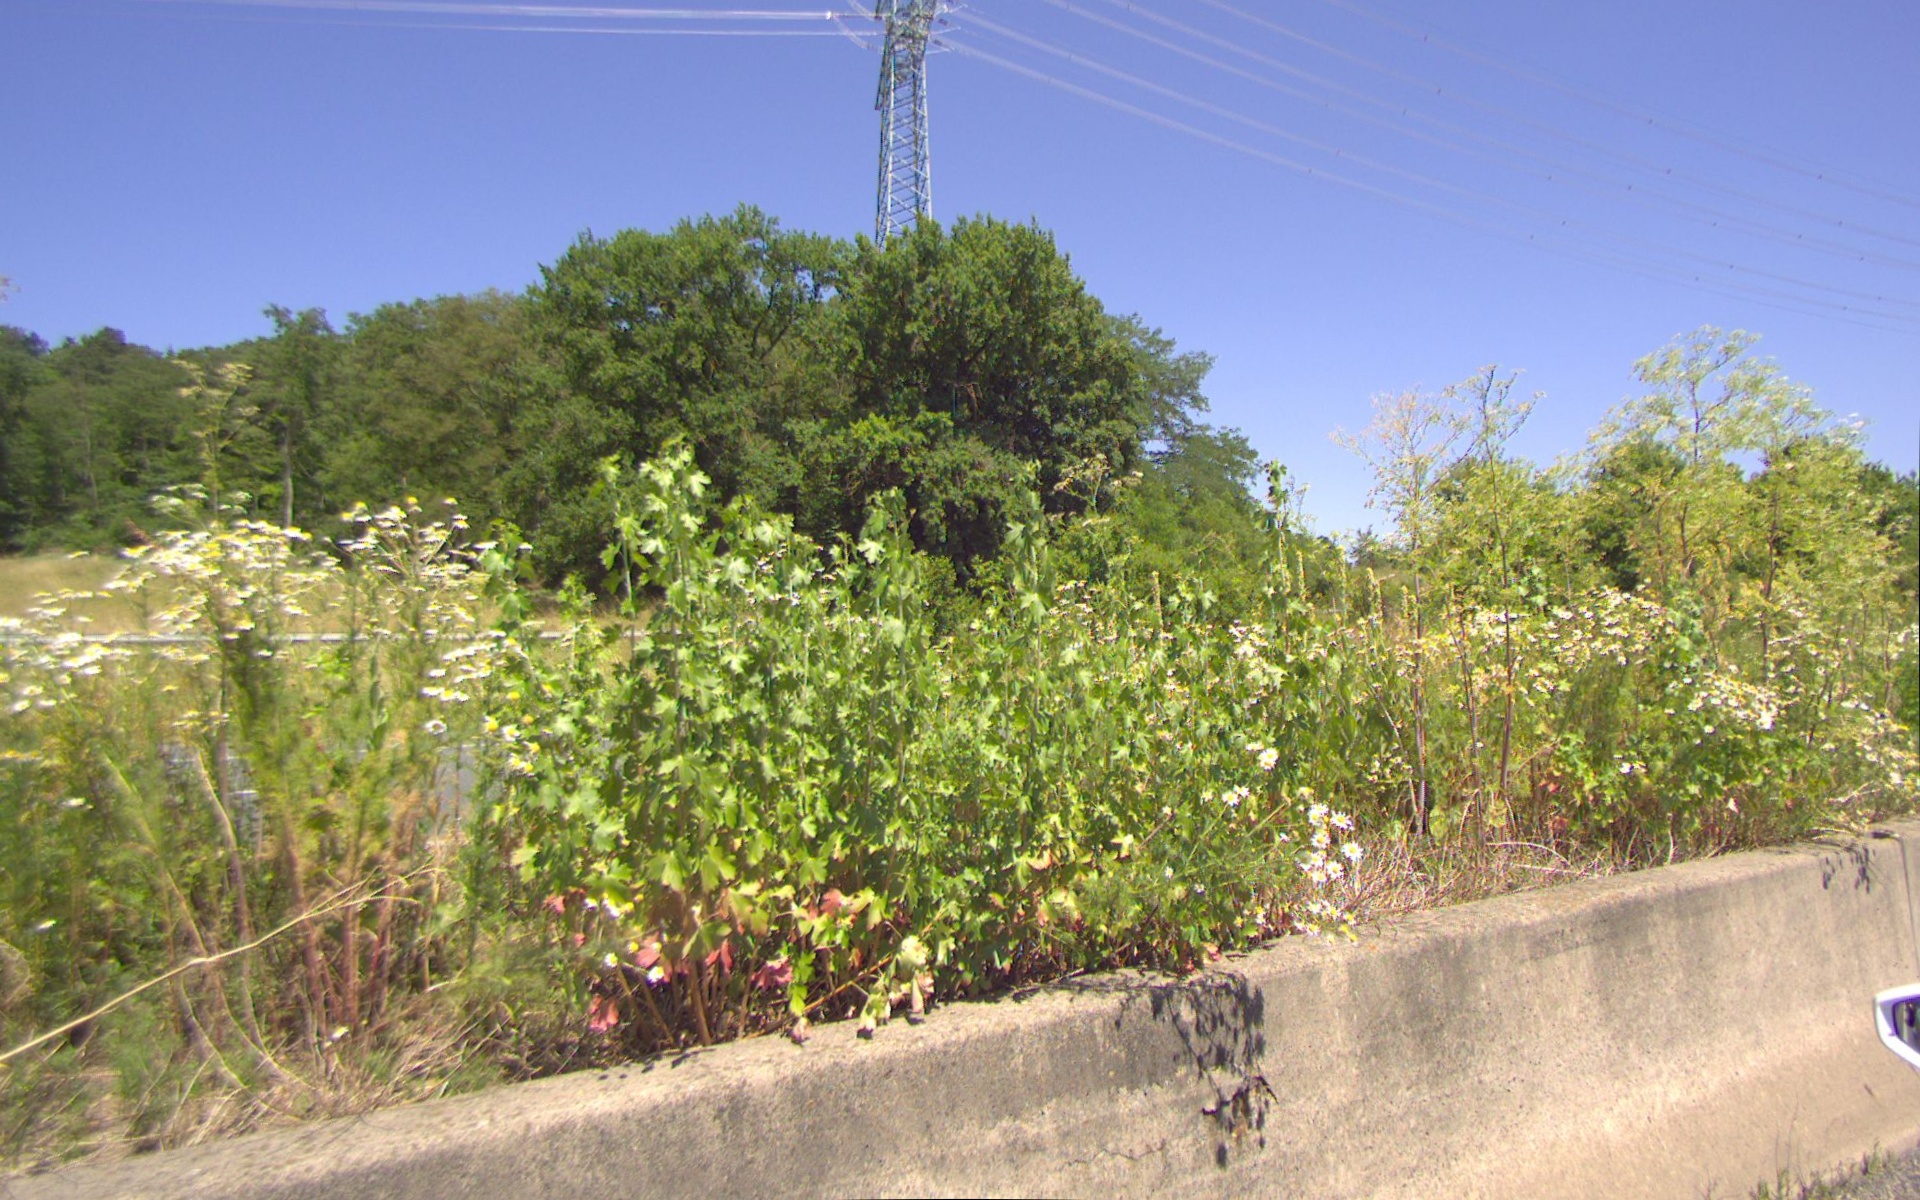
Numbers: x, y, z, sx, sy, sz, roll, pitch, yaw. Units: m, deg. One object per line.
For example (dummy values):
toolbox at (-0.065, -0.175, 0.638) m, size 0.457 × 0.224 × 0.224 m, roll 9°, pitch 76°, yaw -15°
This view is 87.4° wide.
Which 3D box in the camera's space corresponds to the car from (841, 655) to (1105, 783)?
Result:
car at (0.183, 1.467, 13.174) m, size 3.089 × 1.408 × 1.576 m, roll 1°, pitch -1°, yaw -29°
